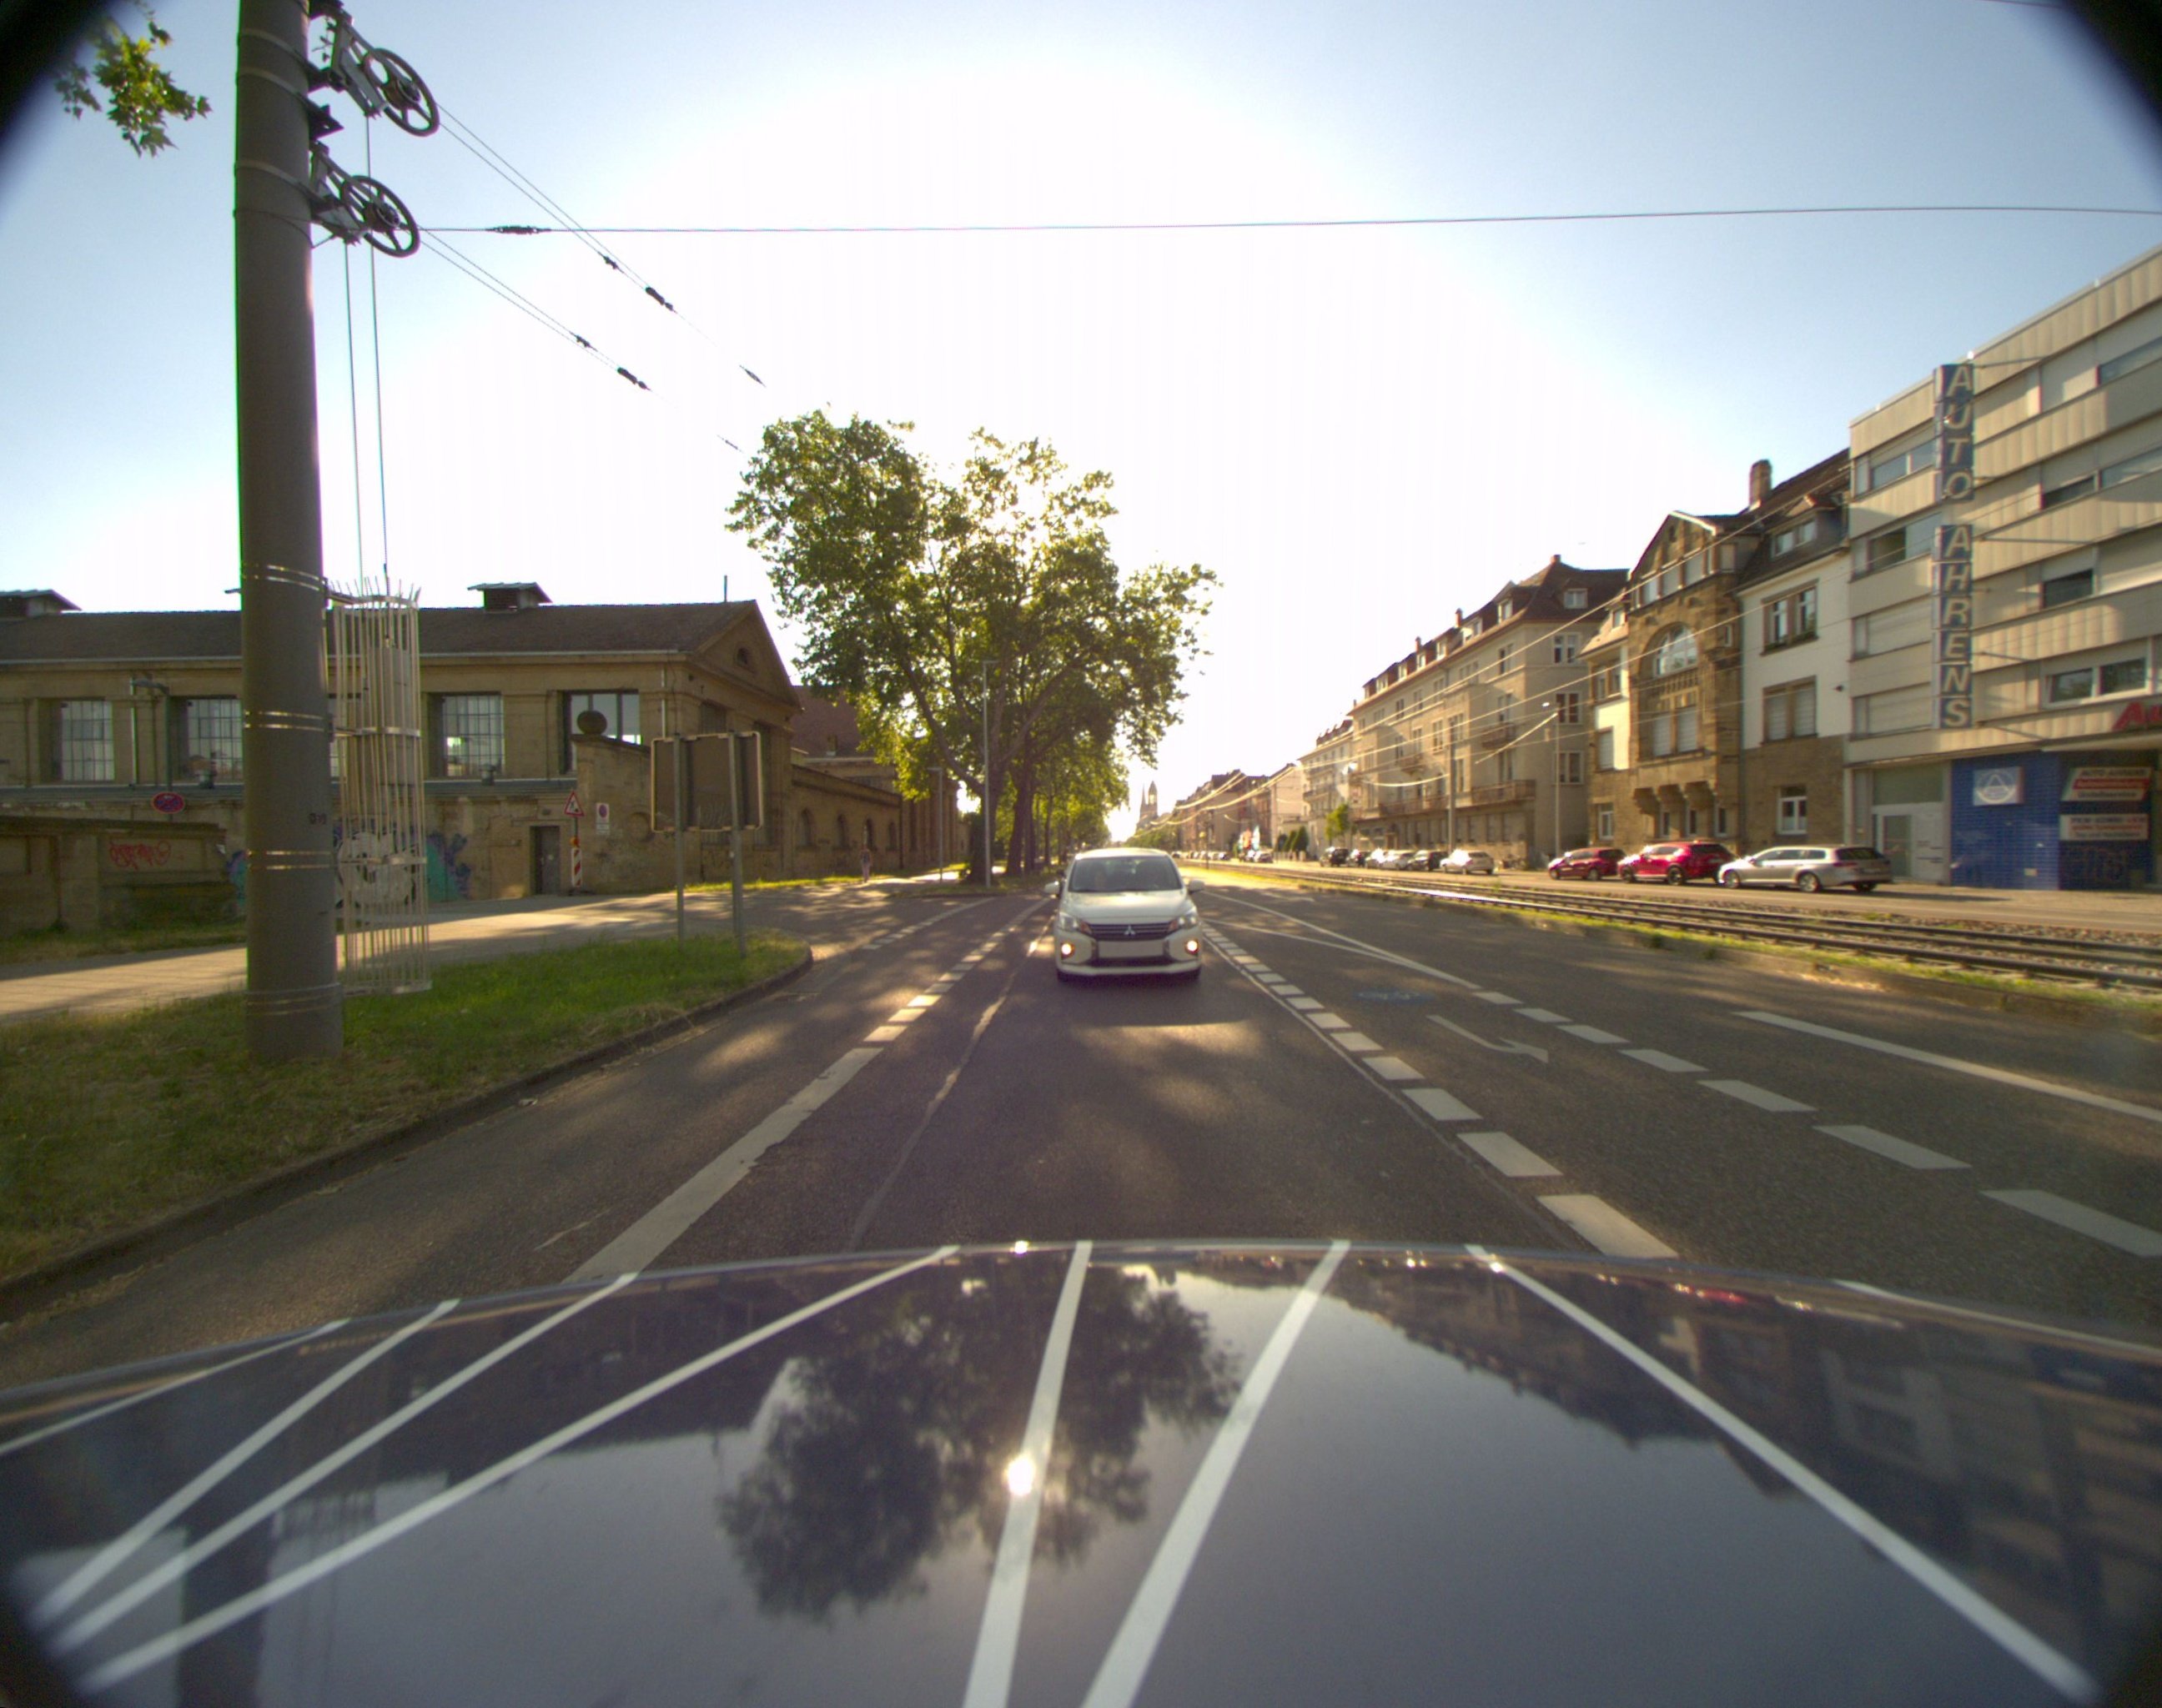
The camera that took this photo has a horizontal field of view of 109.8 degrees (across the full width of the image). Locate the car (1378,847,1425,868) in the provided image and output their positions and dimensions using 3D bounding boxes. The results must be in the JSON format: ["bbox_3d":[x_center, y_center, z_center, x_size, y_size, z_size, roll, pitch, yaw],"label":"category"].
[{"bbox_3d":[23.735,0.269,56.379,1.642,1.438,3.538,-2,0,-6],"label":"car"}]

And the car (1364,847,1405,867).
[{"bbox_3d":[24.434,0.228,61.280,1.802,1.471,3.823,-2,0,2],"label":"car"}]

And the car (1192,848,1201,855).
[{"bbox_3d":[27.188,-0.696,179.585,1.624,1.581,3.450,-2,1,1],"label":"car"}]

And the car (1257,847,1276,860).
[{"bbox_3d":[24.205,-0.033,99.142,1.677,1.622,3.408,-2,0,2],"label":"car"}]

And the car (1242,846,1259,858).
[{"bbox_3d":[25.658,-0.344,115.060,1.727,1.776,3.881,-2,1,1],"label":"car"}]

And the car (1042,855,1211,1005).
[{"bbox_3d":[0.517,0.773,9.720,1.686,1.462,4.055,-1,0,2],"label":"car"}]

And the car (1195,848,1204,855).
[{"bbox_3d":[27.223,-0.653,174.653,1.624,1.581,3.450,-2,1,1],"label":"car"}]

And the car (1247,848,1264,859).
[{"bbox_3d":[25.099,-0.095,109.184,1.684,1.562,3.388,-2,1,1],"label":"car"}]

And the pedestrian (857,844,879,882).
[{"bbox_3d":[-9.493,0.398,33.897,0.672,1.652,0.874,0,1,4],"label":"pedestrian"}]

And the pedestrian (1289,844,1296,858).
[{"bbox_3d":[27.273,-0.354,98.165,0.725,1.779,0.678,0,1,1],"label":"pedestrian"}]

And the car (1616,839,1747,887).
[{"bbox_3d":[23.412,0.313,29.864,1.860,1.677,4.263,-3,0,2],"label":"car"}]

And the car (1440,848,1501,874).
[{"bbox_3d":[23.942,0.377,46.855,1.802,1.471,3.823,-2,0,2],"label":"car"}]

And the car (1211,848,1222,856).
[{"bbox_3d":[25.818,-0.415,144.670,1.624,1.581,3.450,-2,1,1],"label":"car"}]

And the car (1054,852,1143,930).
[{"bbox_3d":[0.393,0.703,16.622,1.686,1.462,4.055,-1,0,2],"label":"car"}]

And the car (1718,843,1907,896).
[{"bbox_3d":[23.337,0.445,24.511,1.860,1.490,4.381,-3,0,0],"label":"car"}]

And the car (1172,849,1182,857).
[{"bbox_3d":[21.820,-0.292,173.379,1.822,1.674,4.000,-1,0,2],"label":"car"}]

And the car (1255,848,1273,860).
[{"bbox_3d":[25.139,-0.030,104.618,1.684,1.562,3.388,-2,1,1],"label":"car"}]

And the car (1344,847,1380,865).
[{"bbox_3d":[24.772,0.194,67.146,1.802,1.471,3.823,-2,0,2],"label":"car"}]

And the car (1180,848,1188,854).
[{"bbox_3d":[26.888,-0.735,197.715,1.624,1.581,3.450,-2,1,1],"label":"car"}]

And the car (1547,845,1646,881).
[{"bbox_3d":[23.622,0.387,34.980,1.756,1.487,3.728,-3,0,-5],"label":"car"}]

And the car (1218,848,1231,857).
[{"bbox_3d":[25.589,-0.307,135.551,1.624,1.581,3.450,-2,1,1],"label":"car"}]

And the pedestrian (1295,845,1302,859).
[{"bbox_3d":[28.023,-0.238,98.100,0.725,1.779,0.678,0,1,1],"label":"pedestrian"}]

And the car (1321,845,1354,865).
[{"bbox_3d":[24.499,0.070,72.736,1.875,1.726,3.915,-2,0,2],"label":"car"}]

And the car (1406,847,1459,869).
[{"bbox_3d":[24.092,0.271,52.182,1.802,1.422,3.822,-2,0,0],"label":"car"}]
